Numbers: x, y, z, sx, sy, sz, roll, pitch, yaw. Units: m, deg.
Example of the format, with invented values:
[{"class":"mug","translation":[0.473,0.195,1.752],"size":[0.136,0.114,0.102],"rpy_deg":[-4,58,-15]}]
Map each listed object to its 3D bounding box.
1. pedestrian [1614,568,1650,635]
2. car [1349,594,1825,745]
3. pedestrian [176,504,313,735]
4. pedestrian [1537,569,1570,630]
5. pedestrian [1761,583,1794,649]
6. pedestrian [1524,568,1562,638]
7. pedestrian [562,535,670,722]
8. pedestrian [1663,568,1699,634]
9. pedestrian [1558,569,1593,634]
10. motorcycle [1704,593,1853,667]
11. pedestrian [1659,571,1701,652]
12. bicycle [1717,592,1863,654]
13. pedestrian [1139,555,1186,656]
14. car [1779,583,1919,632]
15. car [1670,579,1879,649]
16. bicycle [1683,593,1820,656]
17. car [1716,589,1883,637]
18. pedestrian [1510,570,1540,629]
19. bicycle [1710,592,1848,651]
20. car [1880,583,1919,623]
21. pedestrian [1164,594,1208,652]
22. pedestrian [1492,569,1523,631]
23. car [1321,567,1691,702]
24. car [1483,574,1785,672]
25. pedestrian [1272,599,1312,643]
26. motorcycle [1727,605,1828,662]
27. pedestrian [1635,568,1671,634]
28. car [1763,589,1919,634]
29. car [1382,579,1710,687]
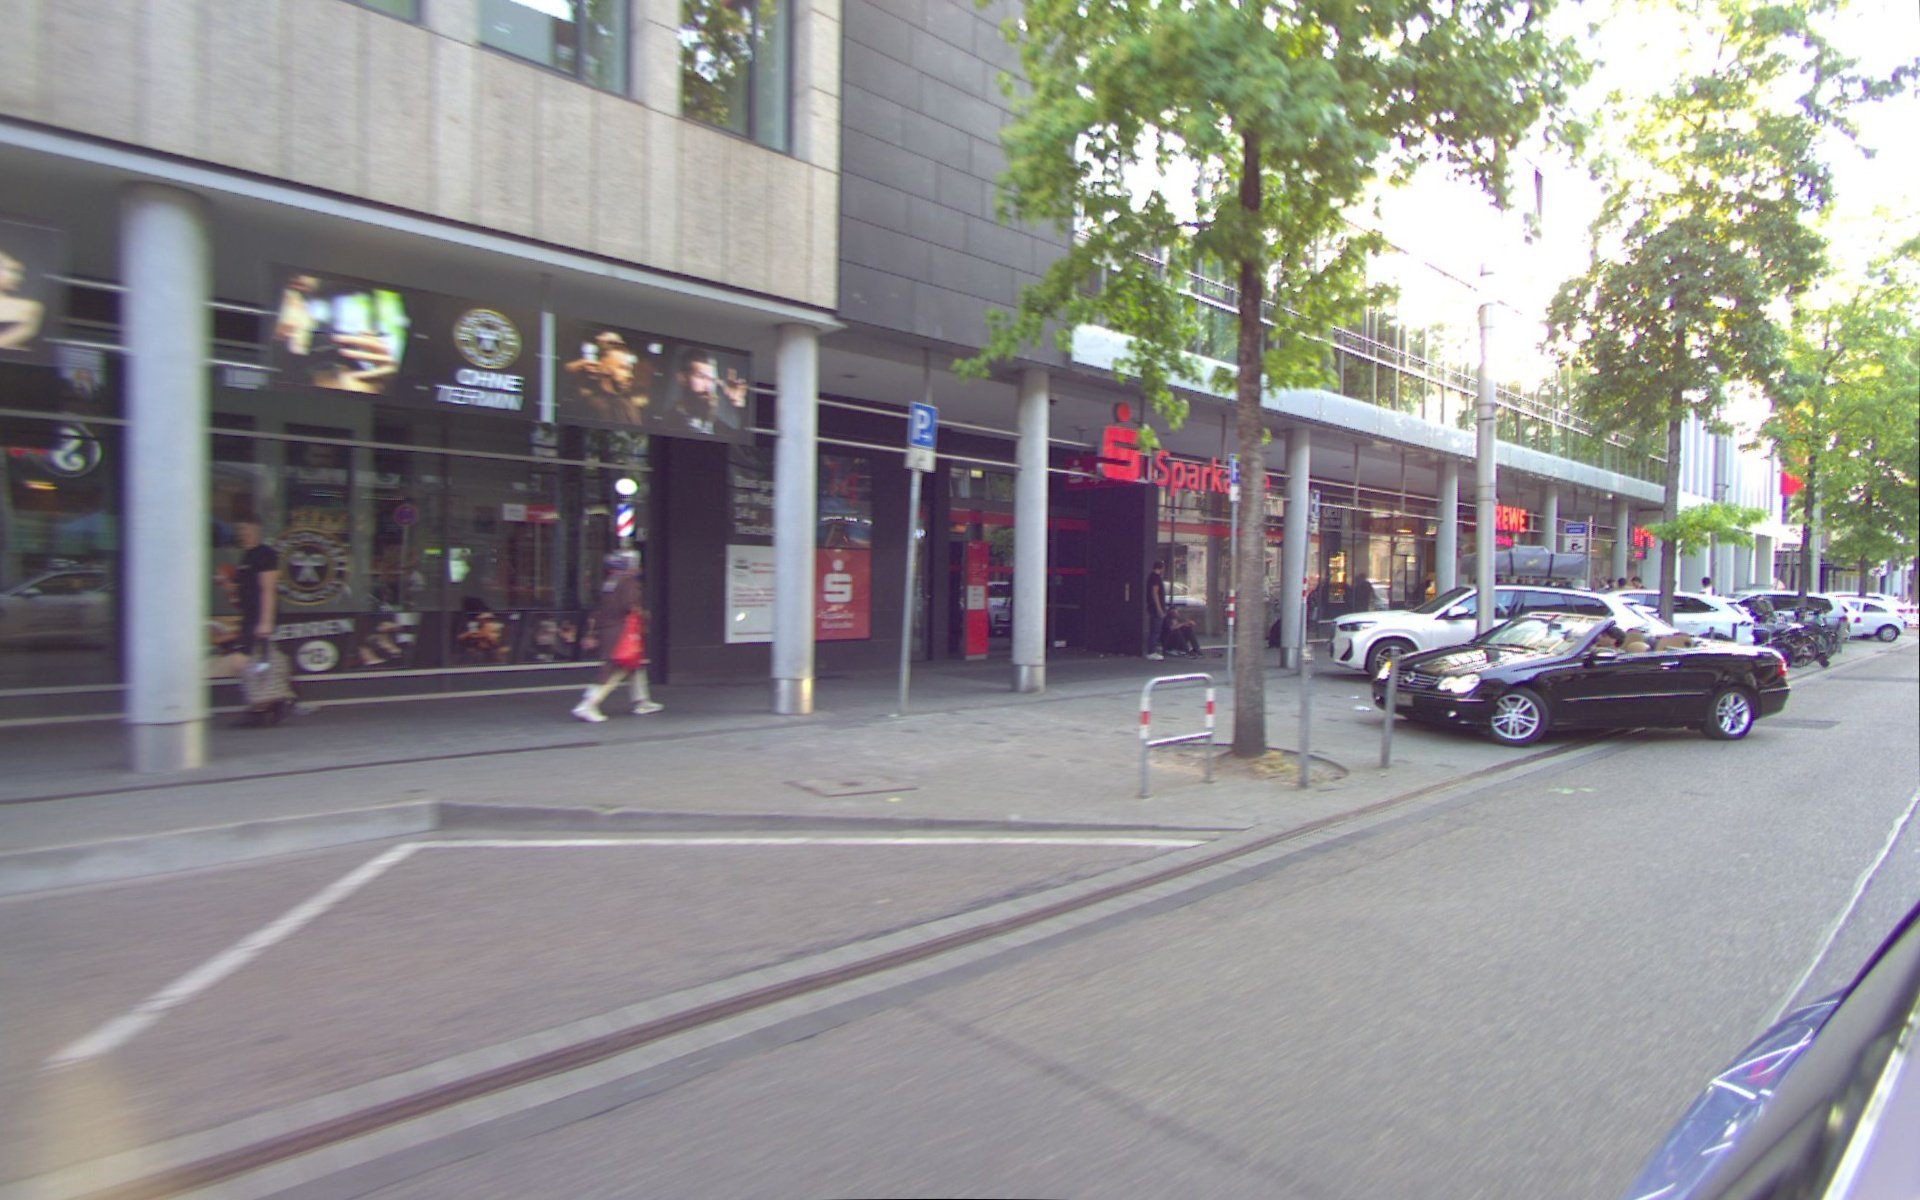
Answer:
[{"class":"pedestrian","translation":[17.494,0.035,26.347],"size":[0.617,1.712,0.617],"rpy_deg":[-1,2,-41]},{"class":"car","translation":[6.851,0.678,11.199],"size":[4.470,1.426,1.803],"rpy_deg":[-1,0,-13]},{"class":"pedestrian","translation":[-5.942,0.134,8.410],"size":[0.849,1.794,0.674],"rpy_deg":[-1,2,-43]},{"class":"pedestrian","translation":[17.117,-0.019,29.197],"size":[0.617,1.712,0.617],"rpy_deg":[-1,2,-41]},{"class":"pedestrian","translation":[21.752,0.408,26.936],"size":[0.616,1.712,0.618],"rpy_deg":[1,1,44]},{"class":"pedestrian","translation":[14.548,0.062,25.235],"size":[0.617,1.712,0.617],"rpy_deg":[-1,2,-41]},{"class":"pedestrian","translation":[-3.250,0.237,9.547],"size":[0.728,1.664,0.749],"rpy_deg":[-1,2,-42]},{"class":"pedestrian","translation":[19.049,0.023,26.731],"size":[0.617,1.712,0.617],"rpy_deg":[-1,2,-41]},{"class":"pedestrian","translation":[16.483,0.023,27.097],"size":[0.617,1.712,0.617],"rpy_deg":[-1,2,-41]},{"class":"motorcycle","translation":[17.012,0.613,21.089],"size":[2.071,1.370,1.157],"rpy_deg":[2,2,0]},{"class":"pedestrian","translation":[16.574,0.242,23.304],"size":[0.617,1.822,0.617],"rpy_deg":[-1,2,-41]},{"class":"bicycle","translation":[20.538,0.571,25.119],"size":[2.642,1.475,0.724],"rpy_deg":[-1,-1,22]},{"class":"pedestrian","translation":[3.661,0.082,18.306],"size":[0.617,1.794,0.557],"rpy_deg":[-1,2,-41]},{"class":"car","translation":[34.960,0.297,39.732],"size":[3.957,1.809,1.849],"rpy_deg":[-2,-1,25]},{"class":"car","translation":[23.899,0.419,29.875],"size":[4.397,1.904,1.794],"rpy_deg":[-1,-1,12]},{"class":"bicycle","translation":[18.929,0.593,24.276],"size":[2.461,1.475,0.652],"rpy_deg":[-1,-1,24]},{"class":"car","translation":[28.626,0.458,34.647],"size":[3.948,1.529,1.789],"rpy_deg":[-1,-1,19]},{"class":"pedestrian","translation":[16.617,-0.029,29.781],"size":[0.617,1.712,0.557],"rpy_deg":[-1,2,-41]},{"class":"bicycle","translation":[21.096,0.551,26.134],"size":[2.643,1.475,0.671],"rpy_deg":[-1,-1,23]},{"class":"car","translation":[45.407,0.093,46.961],"size":[3.919,1.809,1.867],"rpy_deg":[-1,-1,-7]},{"class":"pedestrian","translation":[4.280,0.418,19.156],"size":[0.625,1.048,0.550],"rpy_deg":[2,2,40]},{"class":"pedestrian","translation":[15.405,-0.002,28.483],"size":[0.617,1.712,0.557],"rpy_deg":[-1,2,-41]},{"class":"car","translation":[8.052,0.442,15.466],"size":[4.575,1.650,1.908],"rpy_deg":[3,1,17]},{"class":"car","translation":[13.342,0.383,20.365],"size":[4.570,1.607,1.910],"rpy_deg":[3,3,14]},{"class":"pedestrian","translation":[7.146,0.445,21.790],"size":[0.548,0.892,0.627],"rpy_deg":[-1,2,-42]},{"class":"motorcycle","translation":[17.947,0.720,22.246],"size":[1.555,1.113,0.624],"rpy_deg":[3,3,24]},{"class":"pedestrian","translation":[18.488,0.020,26.988],"size":[0.617,1.712,0.617],"rpy_deg":[-1,2,-41]},{"class":"car","translation":[31.710,0.417,36.411],"size":[3.948,1.529,1.853],"rpy_deg":[-1,-1,19]},{"class":"car","translation":[9.827,0.477,17.470],"size":[4.583,1.457,1.905],"rpy_deg":[3,3,22]}]
